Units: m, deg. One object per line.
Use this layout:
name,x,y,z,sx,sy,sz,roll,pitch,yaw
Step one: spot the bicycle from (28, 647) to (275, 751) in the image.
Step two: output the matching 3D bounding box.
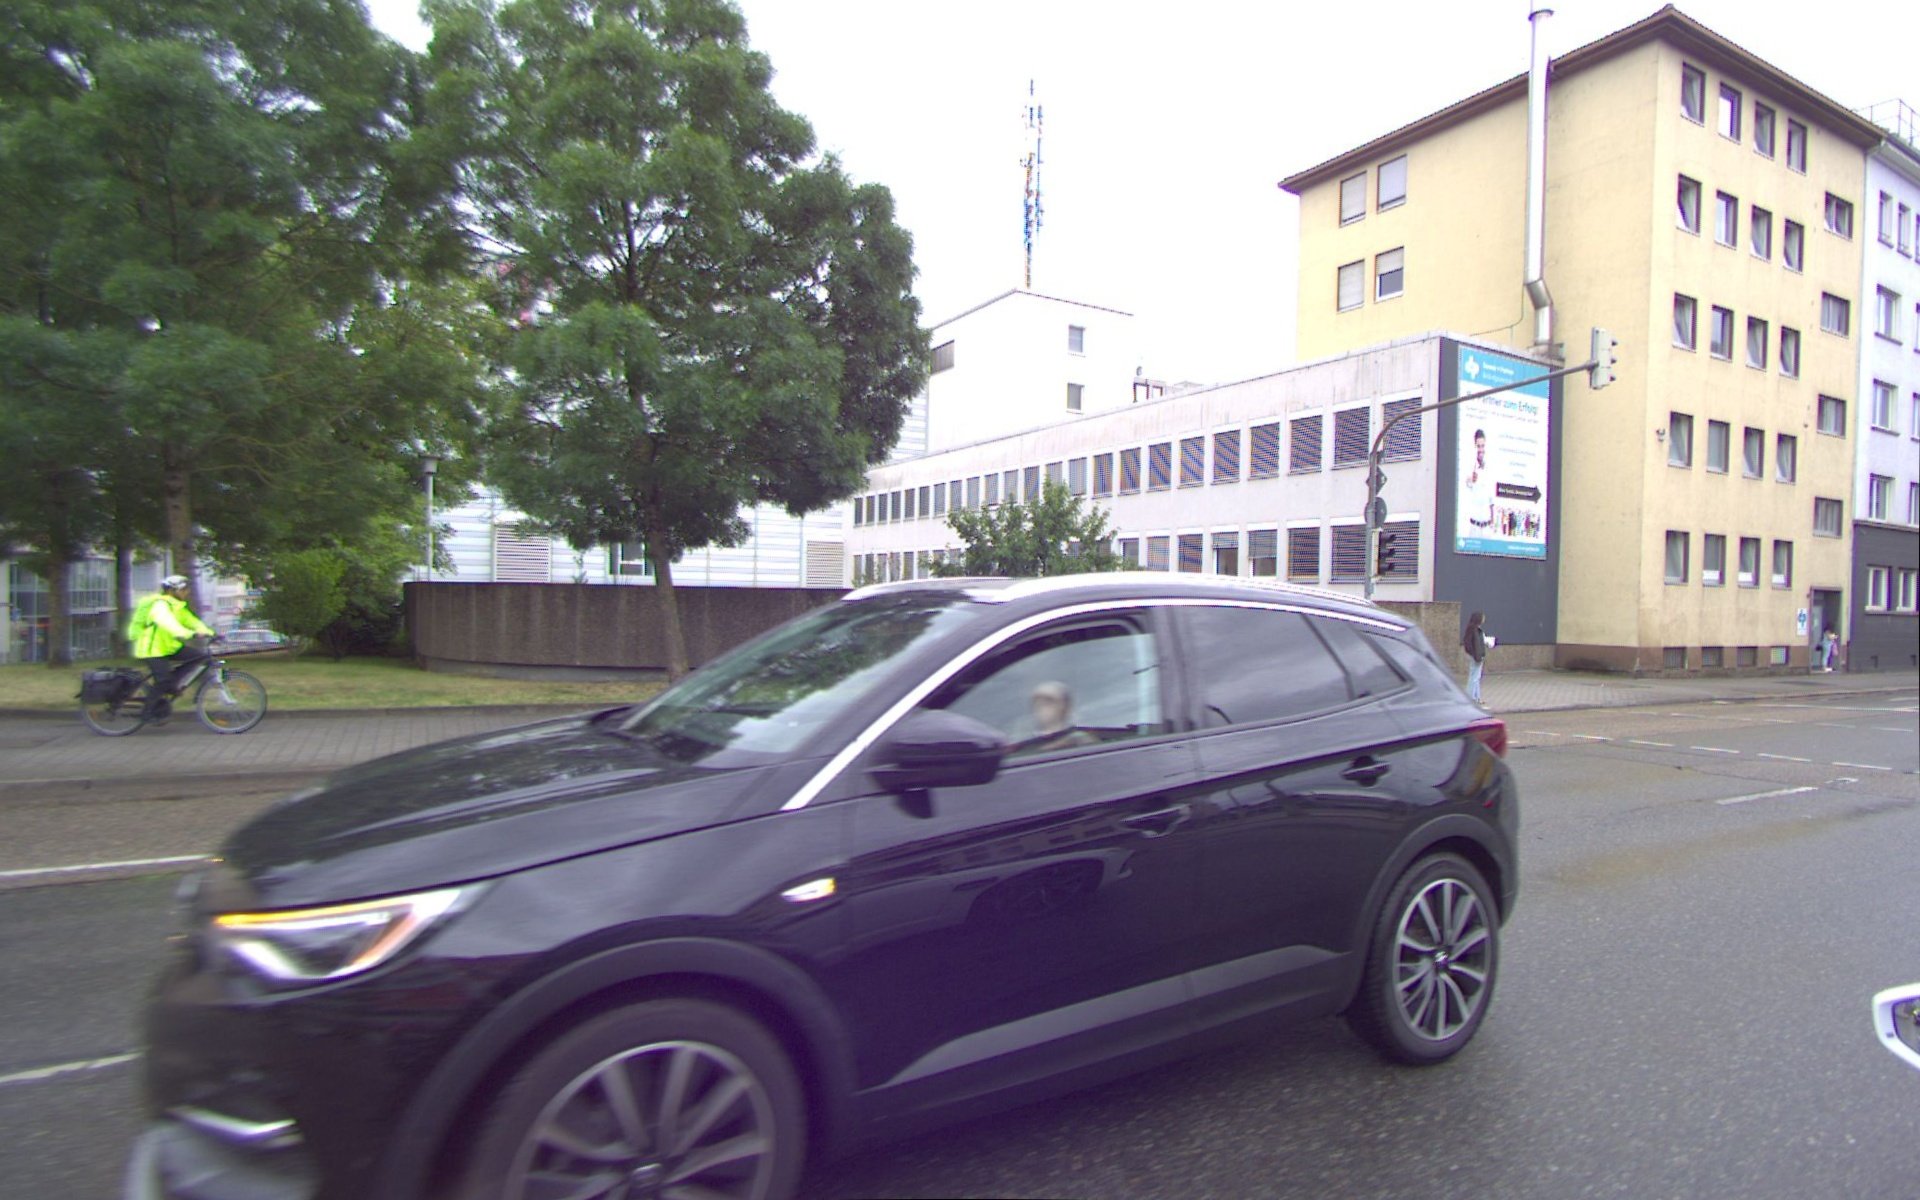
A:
bicycle,-8.261,0.987,10.390,1.844,0.920,0.881,2,1,-29

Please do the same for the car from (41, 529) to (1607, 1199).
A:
car,0.047,0.745,3.331,4.245,1.616,1.799,1,0,-30

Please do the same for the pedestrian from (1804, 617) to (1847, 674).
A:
pedestrian,27.085,1.410,31.445,0.801,1.712,0.714,2,2,-29

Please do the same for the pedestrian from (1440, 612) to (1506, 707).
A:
pedestrian,9.681,1.104,18.961,0.801,1.712,0.714,2,2,-29

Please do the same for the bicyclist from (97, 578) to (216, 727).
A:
bicyclist,-8.306,0.520,10.428,0.803,1.461,0.838,2,2,-29
